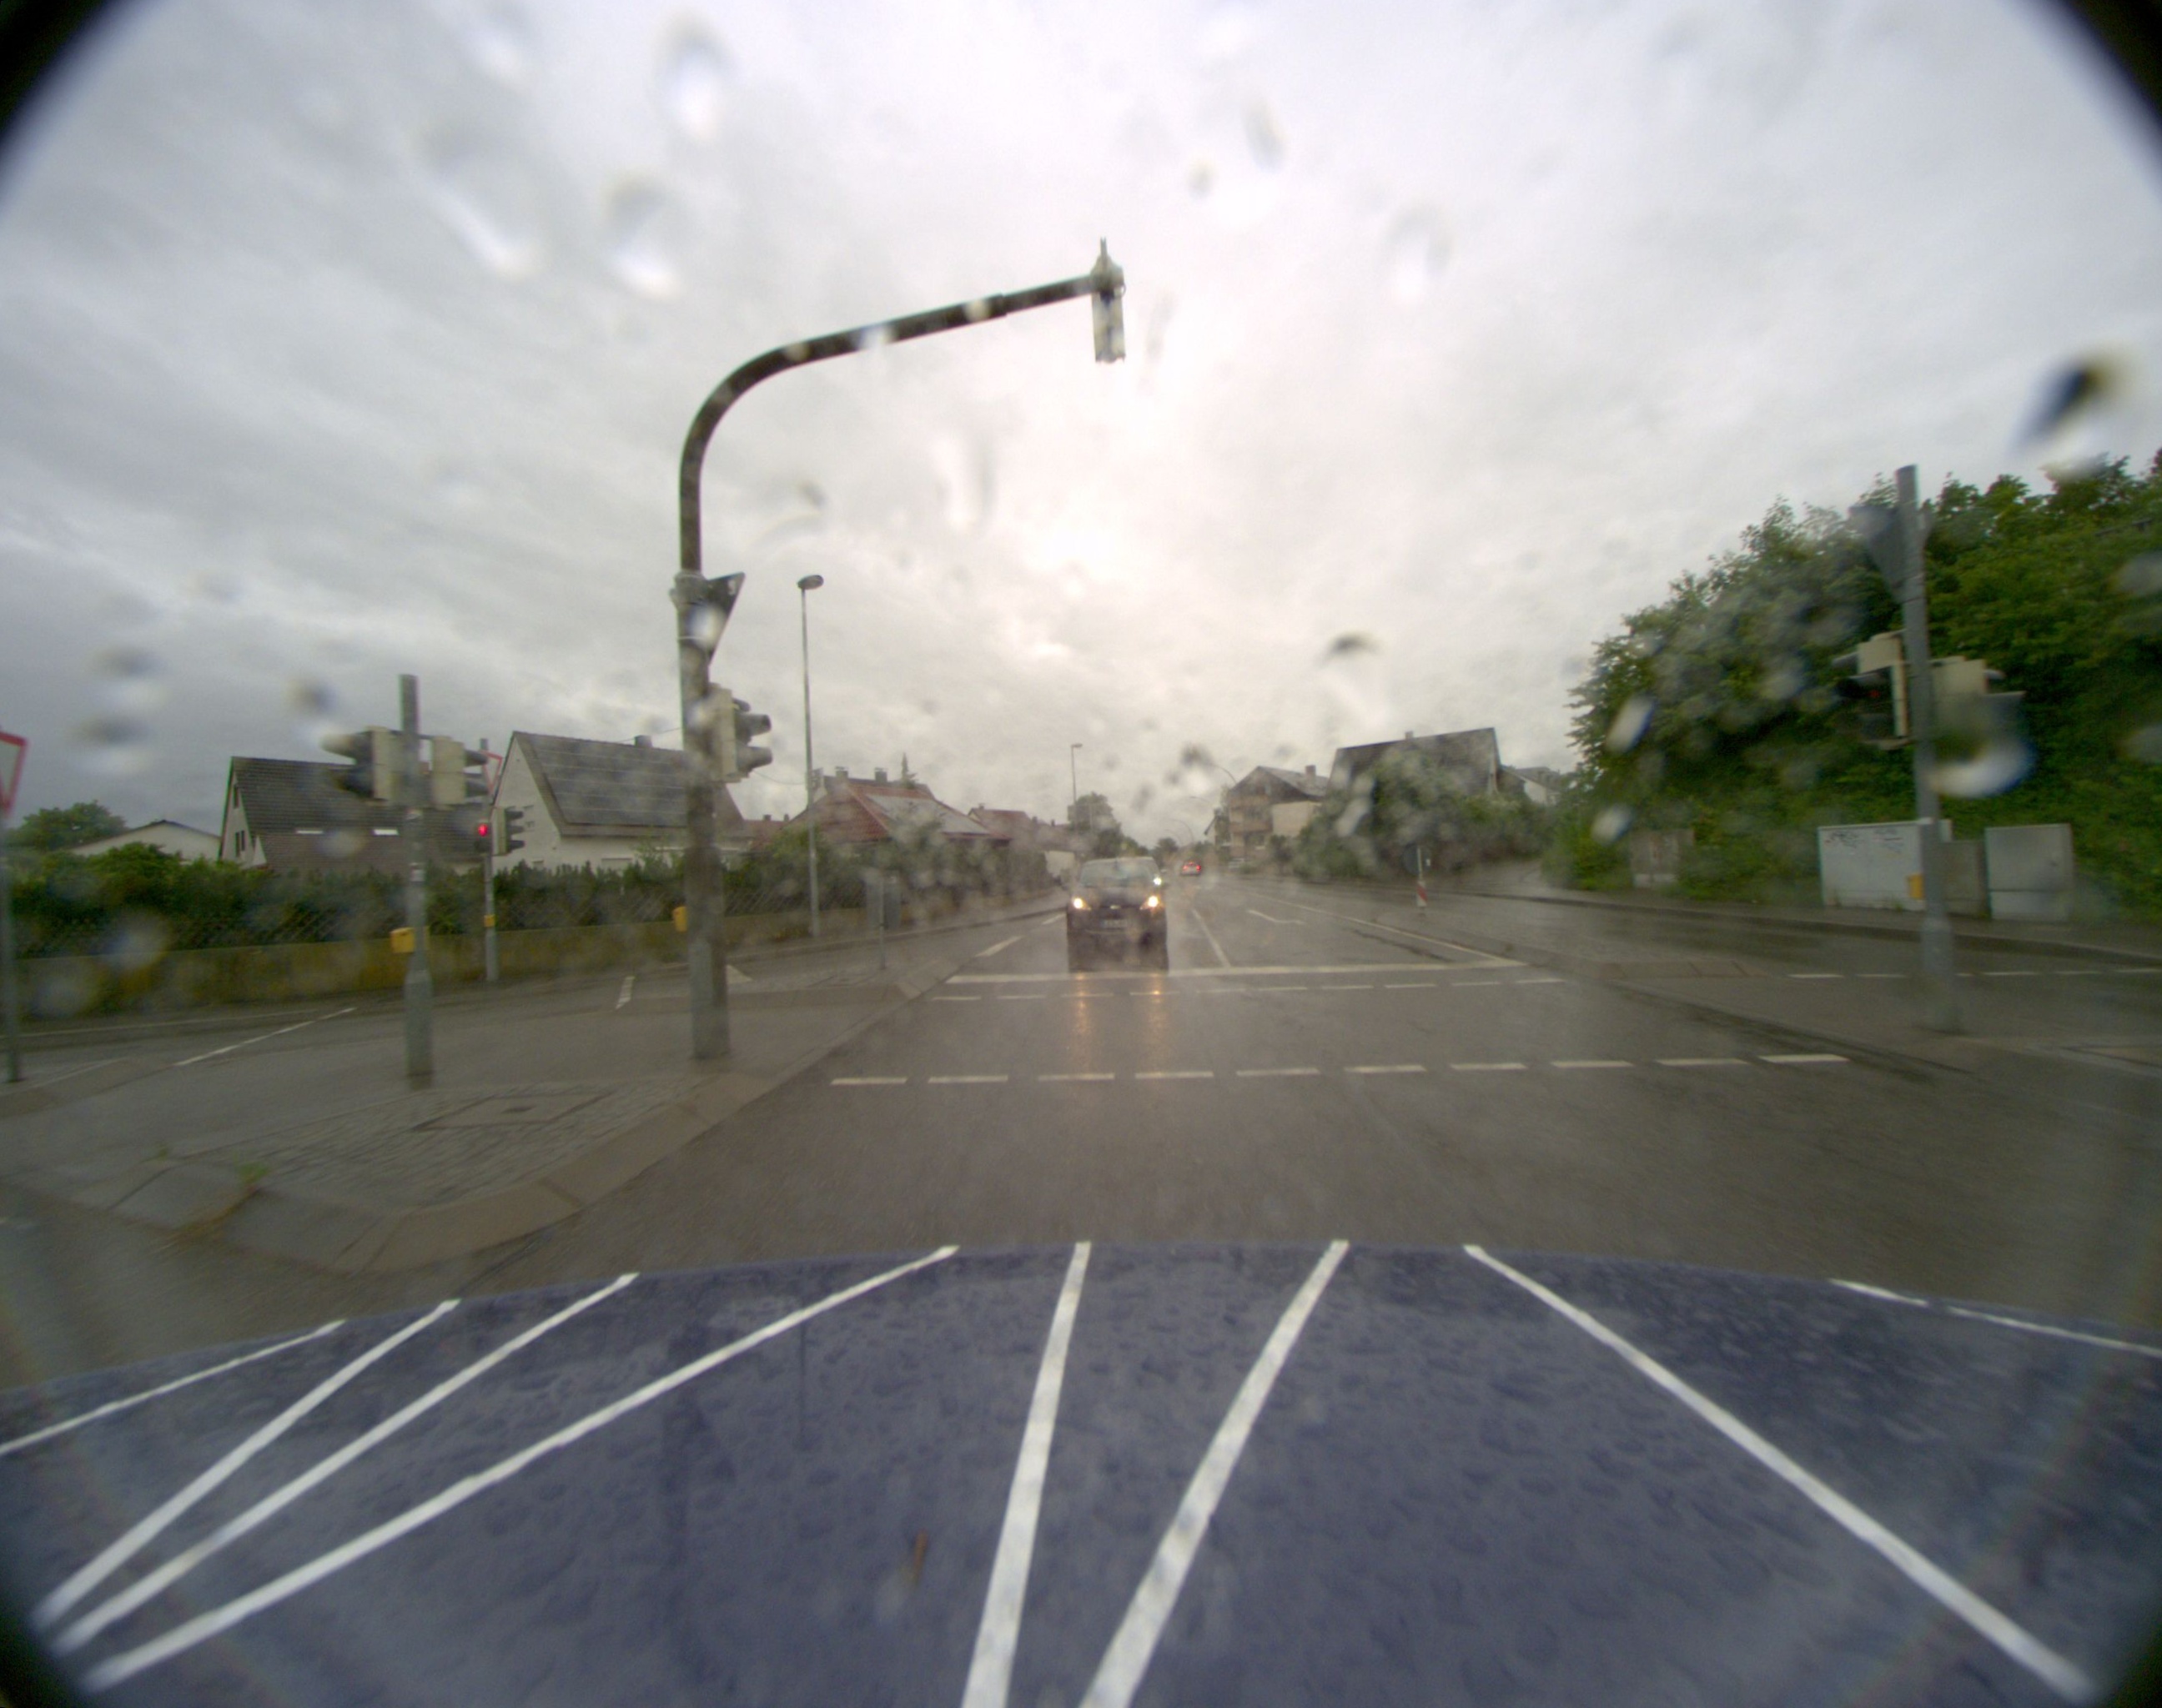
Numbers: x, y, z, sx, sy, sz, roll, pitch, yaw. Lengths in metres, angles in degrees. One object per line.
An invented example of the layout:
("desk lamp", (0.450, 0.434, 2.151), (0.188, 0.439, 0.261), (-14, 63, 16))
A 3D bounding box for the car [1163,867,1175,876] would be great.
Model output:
("car", (16.063, 3.181, 139.437), (1.669, 1.496, 4.322), (-2, 0, 0))

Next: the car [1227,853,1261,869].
("car", (17.101, 0.706, 79.551), (1.661, 1.538, 4.008), (-1, 1, 41))

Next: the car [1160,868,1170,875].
("car", (17.823, 3.762, 161.299), (1.802, 1.332, 4.000), (-3, 0, 2))

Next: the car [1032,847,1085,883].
("car", (-1.553, 0.770, 53.235), (1.650, 2.337, 4.007), (-2, 0, 33))

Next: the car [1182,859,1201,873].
("car", (12.545, 1.301, 86.264), (1.624, 1.496, 3.822), (-1, 0, 1))

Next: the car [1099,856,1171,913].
("car", (1.586, 0.840, 22.553), (1.898, 1.474, 4.001), (-2, 0, 4))

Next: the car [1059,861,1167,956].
("car", (0.671, 0.891, 14.020), (1.665, 1.410, 3.934), (-2, 0, 5))

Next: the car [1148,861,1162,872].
("car", (11.326, 1.869, 117.047), (1.757, 1.547, 3.919), (-2, 0, 1))
